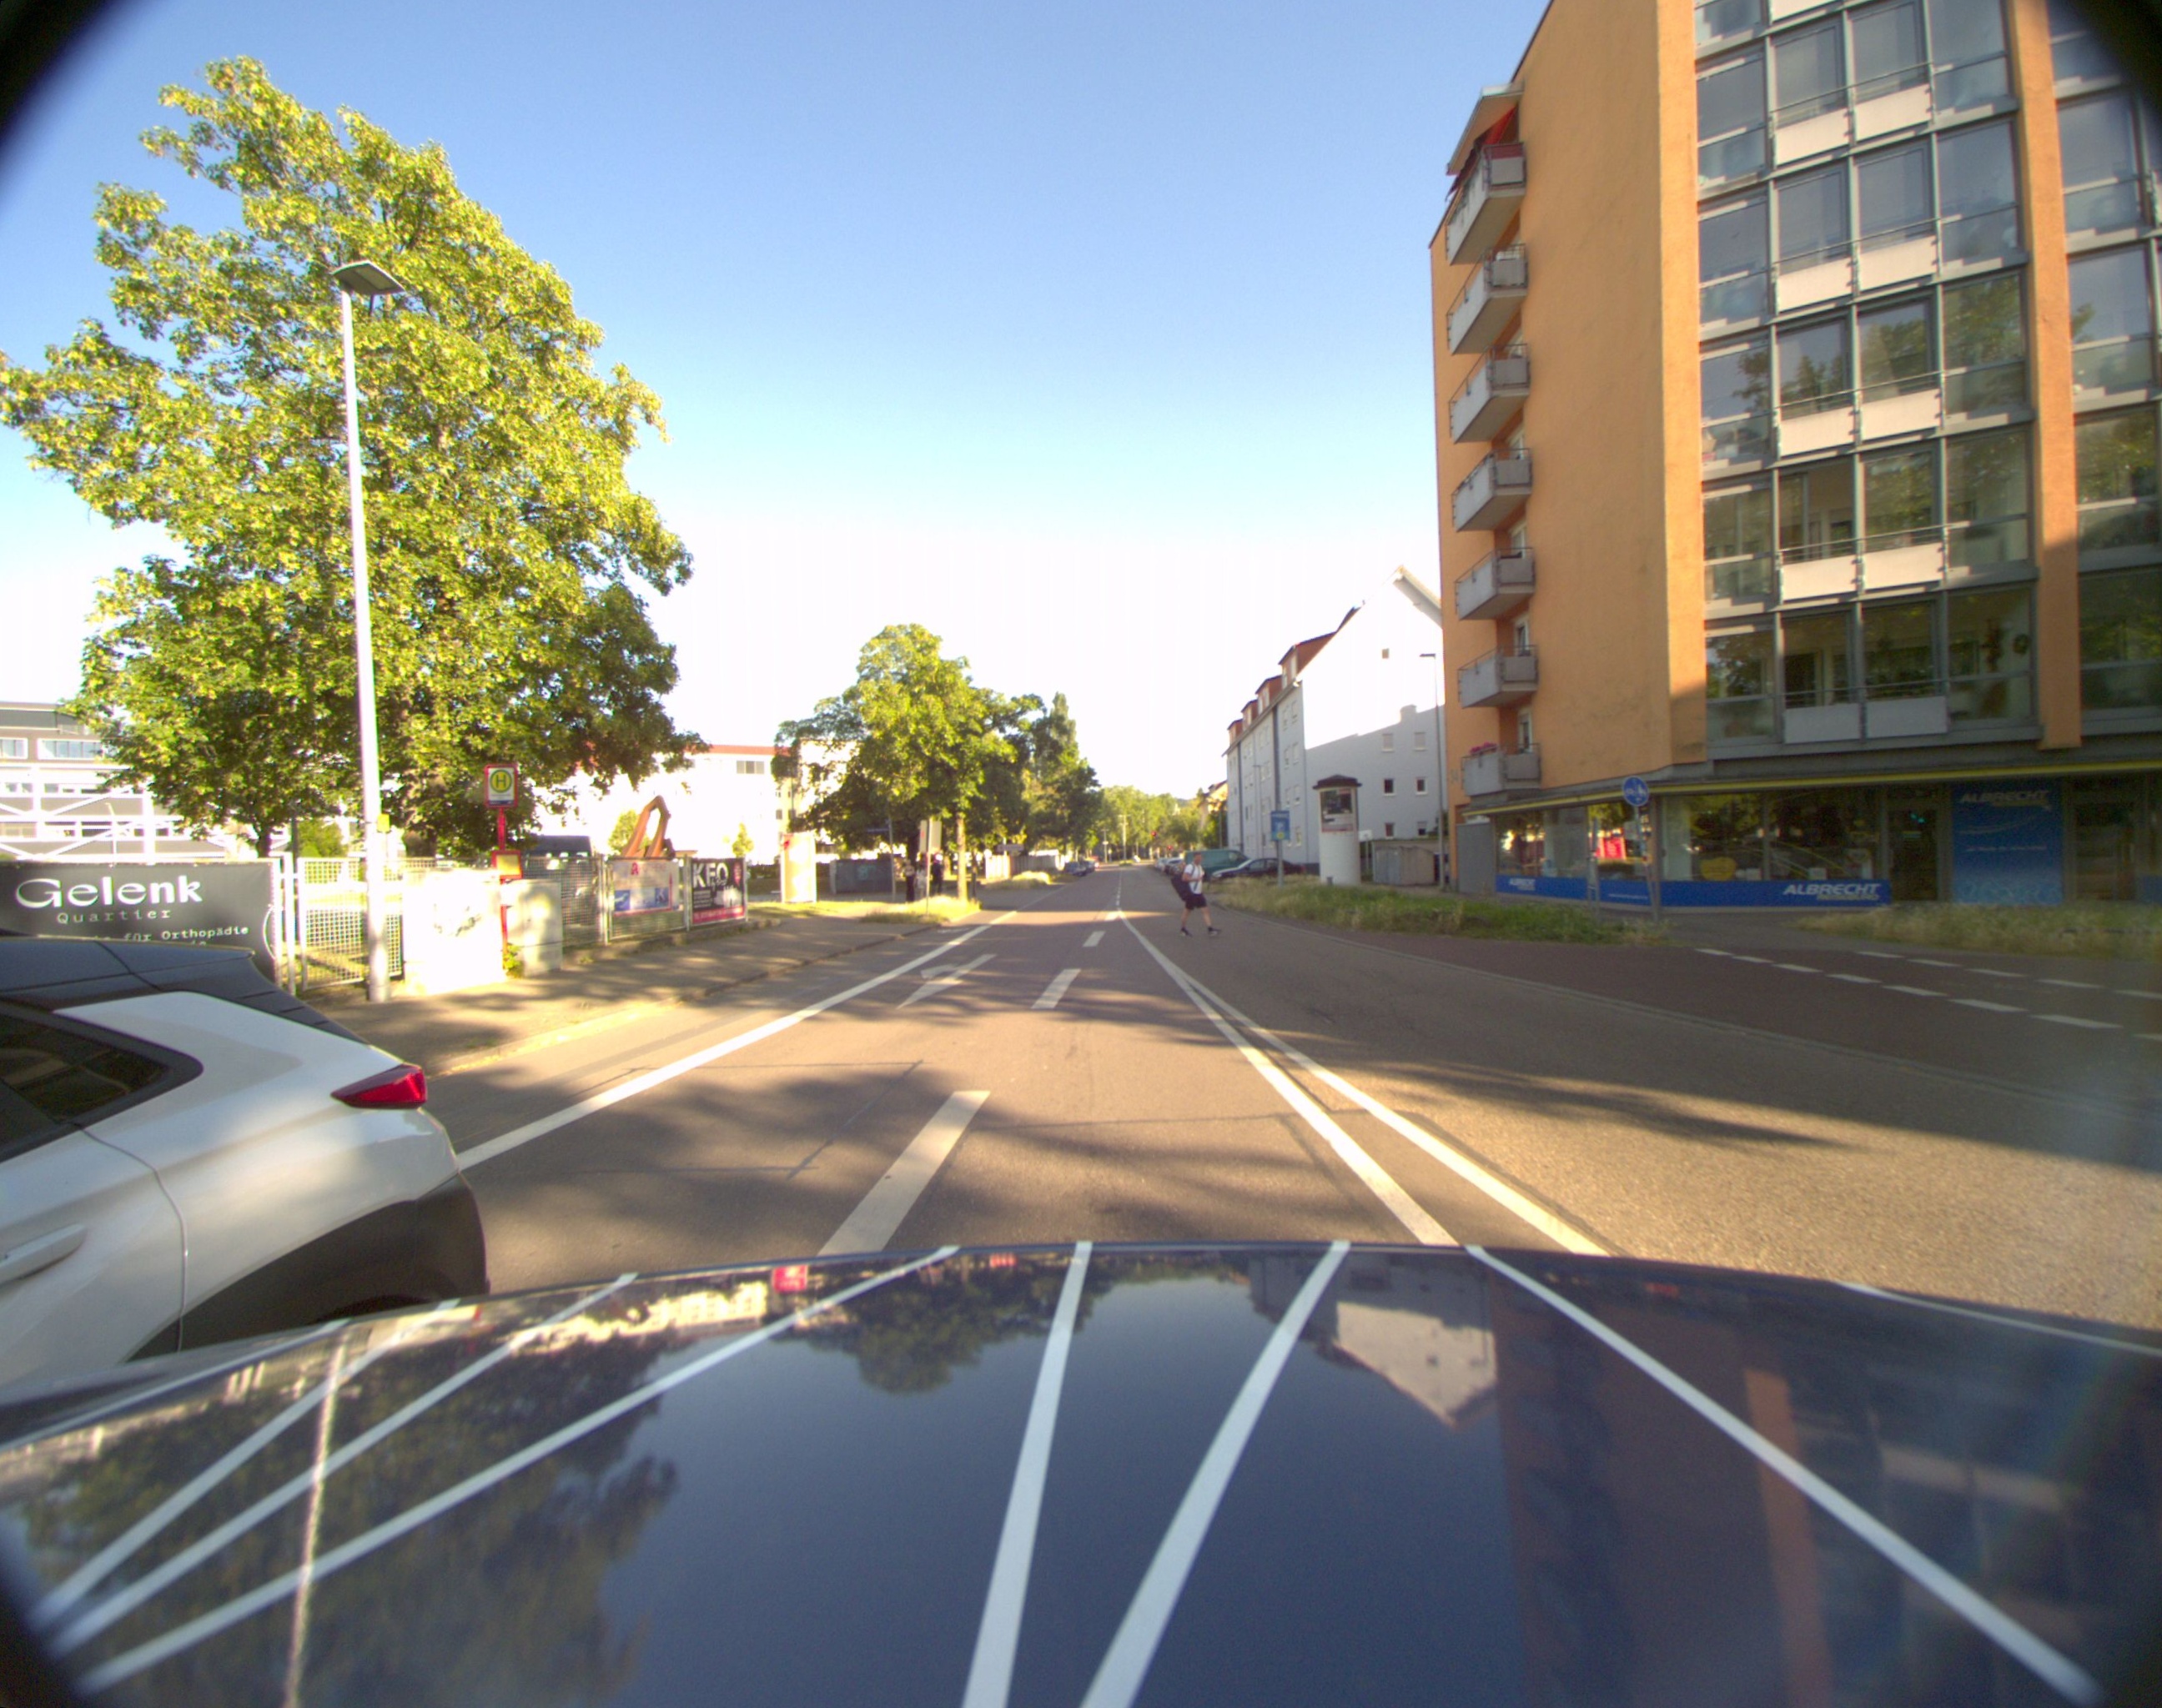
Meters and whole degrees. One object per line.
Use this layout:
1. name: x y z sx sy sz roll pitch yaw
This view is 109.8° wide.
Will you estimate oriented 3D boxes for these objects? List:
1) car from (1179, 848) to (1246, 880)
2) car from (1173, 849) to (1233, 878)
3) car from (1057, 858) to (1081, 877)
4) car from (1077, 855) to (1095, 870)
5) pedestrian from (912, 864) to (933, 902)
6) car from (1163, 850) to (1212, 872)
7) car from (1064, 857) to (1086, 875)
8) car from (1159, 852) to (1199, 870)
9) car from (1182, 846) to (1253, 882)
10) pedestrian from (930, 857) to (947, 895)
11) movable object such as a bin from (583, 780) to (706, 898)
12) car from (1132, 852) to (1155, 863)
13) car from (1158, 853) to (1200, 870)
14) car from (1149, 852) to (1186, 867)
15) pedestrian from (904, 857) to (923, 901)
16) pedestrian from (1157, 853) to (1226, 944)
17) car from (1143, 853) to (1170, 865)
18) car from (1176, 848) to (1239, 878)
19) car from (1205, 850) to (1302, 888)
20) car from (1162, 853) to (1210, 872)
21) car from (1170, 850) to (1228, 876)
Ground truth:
1. car: 8.352 0.615 48.588 3.995 1.805 2.000 -2 1 5
2. car: 8.566 0.659 53.694 4.059 1.805 1.937 -2 1 5
3. car: -1.094 1.207 69.596 1.998 1.521 3.999 -2 1 1
4. car: 0.564 0.938 87.977 1.998 1.521 3.999 -2 1 1
5. pedestrian: -6.211 1.142 29.790 0.609 1.426 0.639 -2 1 1
6. car: 9.270 0.598 66.489 4.117 1.762 1.757 -2 1 5
7. car: -0.592 1.140 73.944 1.998 1.521 3.999 -2 1 1
8. car: 10.255 0.714 80.067 4.071 1.741 1.899 -2 1 5
9. car: 8.190 0.585 45.940 3.996 1.936 2.000 -2 1 4
10. pedestrian: -6.408 0.977 34.169 0.696 1.659 0.638 -2 1 -11
11. movable object such as a bin: -22.233 -0.710 38.549 3.986 5.447 6.016 -3 1 -42
12. car: 9.697 0.574 118.224 3.538 1.564 1.867 -2 1 5
13. car: 10.303 0.745 79.932 4.257 1.564 1.867 -2 1 5
14. car: 10.218 0.633 90.191 4.257 1.564 1.867 -2 1 5
15. pedestrian: -6.699 0.989 30.396 0.609 1.727 0.638 -2 1 -5
16. pedestrian: 2.212 0.865 15.323 0.903 1.727 1.086 -3 1 -21
17. car: 10.461 0.690 105.243 3.538 1.564 1.867 -2 1 5
18. car: 8.496 0.579 51.344 3.995 1.805 2.000 -2 1 5
19. car: 8.293 0.724 36.875 4.423 1.652 2.001 -2 1 9
20. car: 9.563 0.763 69.375 4.257 1.564 1.867 -2 1 5
21. car: 8.743 0.653 56.438 4.071 1.741 1.899 -2 1 5
